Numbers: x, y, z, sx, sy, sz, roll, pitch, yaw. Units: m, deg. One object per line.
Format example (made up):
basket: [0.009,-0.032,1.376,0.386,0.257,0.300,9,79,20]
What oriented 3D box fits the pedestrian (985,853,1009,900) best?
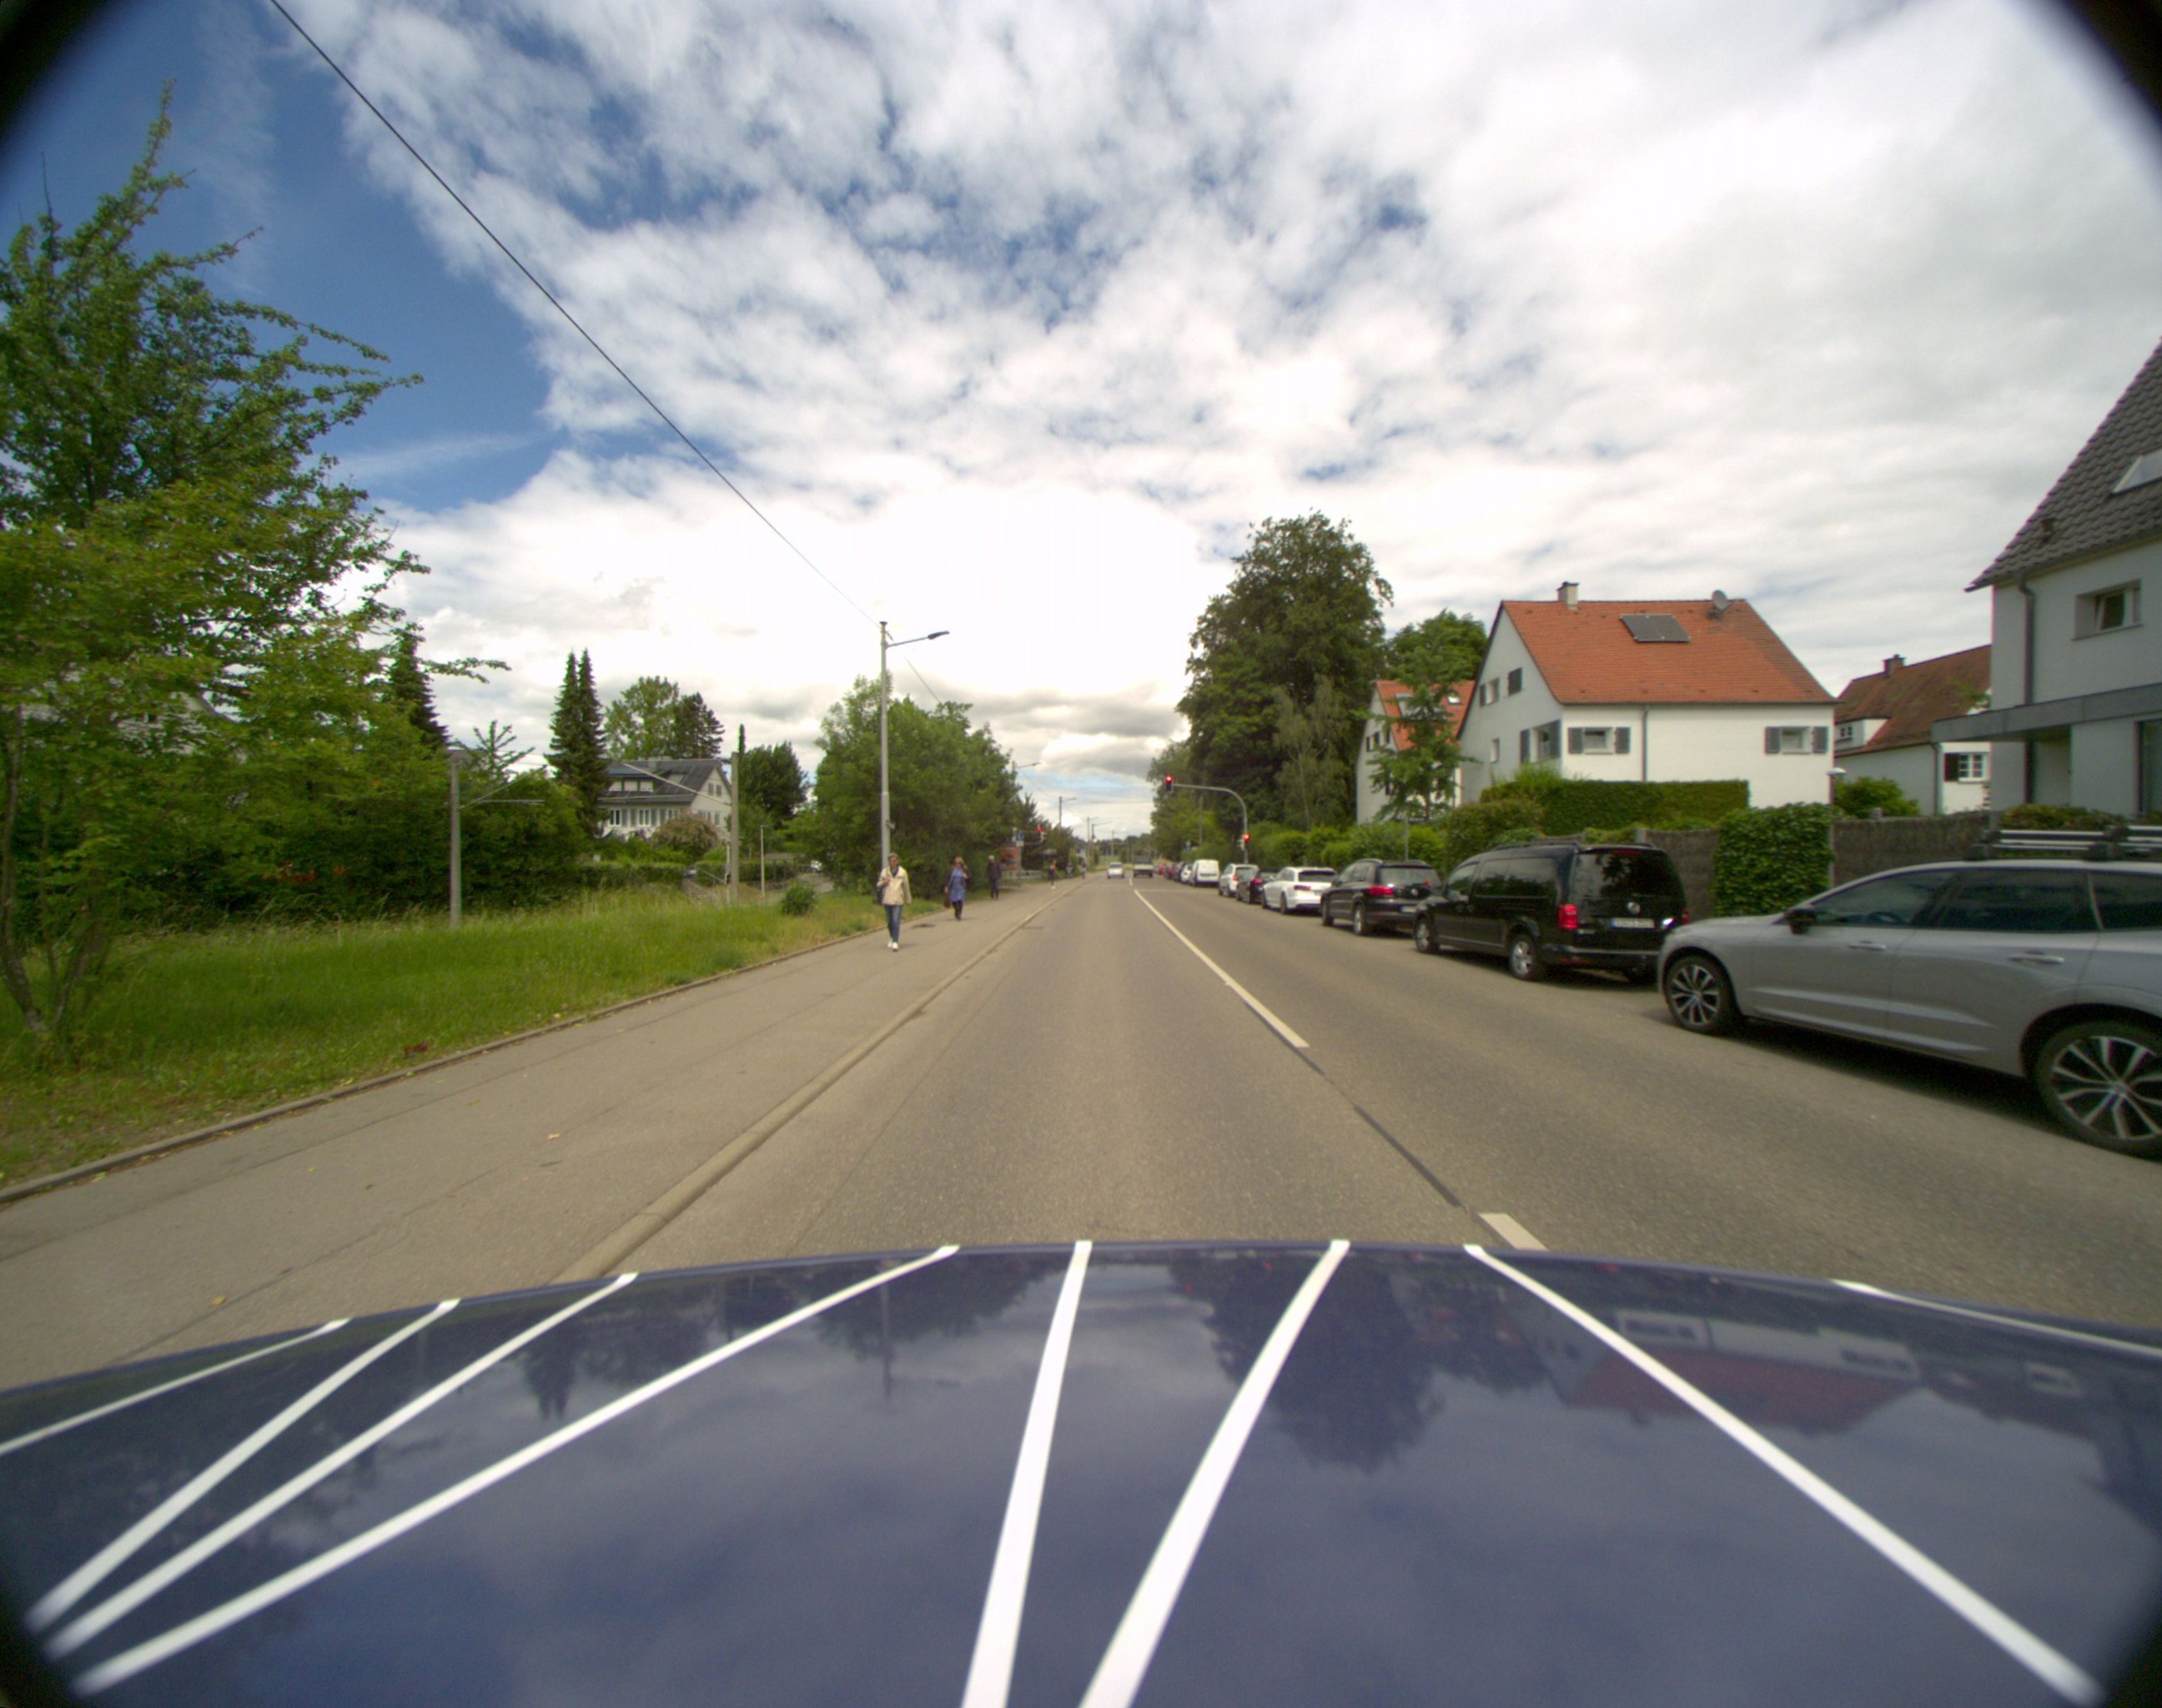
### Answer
pedestrian: [-3.410,0.903,30.859,0.746,1.871,0.802,-1,0,8]

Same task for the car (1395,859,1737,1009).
car: [6.823,0.971,11.549,2.072,1.744,4.884,-1,0,0]

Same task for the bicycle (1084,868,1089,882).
bicycle: [0.527,2.014,72.625,0.451,1.278,2.207,-1,0,-1]

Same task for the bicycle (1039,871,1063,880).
bicycle: [-2.773,1.987,70.165,2.080,0.821,0.452,-1,0,9]

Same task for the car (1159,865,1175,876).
car: [11.180,2.125,99.061,1.971,1.394,4.067,0,-1,4]

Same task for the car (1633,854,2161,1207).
car: [6.562,0.923,5.359,1.990,1.808,4.708,0,-1,1]

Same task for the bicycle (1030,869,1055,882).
bicycle: [-3.265,1.797,64.582,2.090,1.041,0.451,1,1,23]

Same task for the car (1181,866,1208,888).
car: [8.311,1.634,55.875,1.708,1.444,4.360,3,0,6]

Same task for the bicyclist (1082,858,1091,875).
bicyclist: [0.556,1.193,72.819,0.826,1.529,0.862,-1,0,1]

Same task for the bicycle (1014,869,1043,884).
bicycle: [-4.012,1.712,57.914,2.093,1.074,0.547,1,0,5]

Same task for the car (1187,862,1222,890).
car: [8.205,1.427,50.610,1.680,1.748,4.609,2,-1,2]

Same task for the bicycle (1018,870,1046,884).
bicycle: [-3.808,1.791,59.312,2.093,1.041,0.559,-3,0,5]

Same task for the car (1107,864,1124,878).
car: [3.551,1.706,77.369,1.665,1.394,3.901,0,-1,3]

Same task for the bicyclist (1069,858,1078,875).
bicyclist: [-0.708,1.173,71.999,0.826,1.529,0.862,0,0,2]

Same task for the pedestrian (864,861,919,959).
pedestrian: [-3.298,0.951,13.243,0.687,1.649,0.690,-1,0,6]

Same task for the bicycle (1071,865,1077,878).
bicycle: [-0.644,1.632,72.036,0.451,1.142,2.208,0,0,2]

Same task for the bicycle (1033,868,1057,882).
bicycle: [-3.096,1.797,65.362,2.093,1.144,0.530,-1,0,0]

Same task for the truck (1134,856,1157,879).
truck: [6.877,1.422,81.410,2.194,2.357,6.907,1,-1,3]

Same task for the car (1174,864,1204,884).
car: [8.704,1.586,61.604,1.901,1.584,4.644,0,-1,2]

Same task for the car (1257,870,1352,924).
car: [6.996,1.285,24.314,1.809,1.450,5.070,2,-1,4]

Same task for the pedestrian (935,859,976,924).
pedestrian: [-3.246,0.958,19.728,0.841,1.649,0.766,-1,0,6]

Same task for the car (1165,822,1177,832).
car: [13.925,-4.148,117.887,1.675,1.363,3.609,2,-1,9]

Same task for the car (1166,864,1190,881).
car: [9.212,1.710,72.190,1.794,1.601,4.417,0,-1,1]

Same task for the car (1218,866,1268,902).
car: [7.471,1.349,35.383,1.706,1.534,3.744,2,-1,4]

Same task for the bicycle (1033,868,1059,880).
bicycle: [-3.036,1.760,66.353,2.206,1.041,0.451,0,0,1]

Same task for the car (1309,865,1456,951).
car: [6.752,1.119,17.583,1.630,1.668,4.584,2,-1,1]

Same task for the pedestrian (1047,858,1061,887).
pedestrian: [-1.589,1.087,45.104,0.649,1.654,0.708,-1,0,7]

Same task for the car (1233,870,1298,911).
car: [7.192,1.375,29.955,1.746,1.402,4.325,2,-1,4]
